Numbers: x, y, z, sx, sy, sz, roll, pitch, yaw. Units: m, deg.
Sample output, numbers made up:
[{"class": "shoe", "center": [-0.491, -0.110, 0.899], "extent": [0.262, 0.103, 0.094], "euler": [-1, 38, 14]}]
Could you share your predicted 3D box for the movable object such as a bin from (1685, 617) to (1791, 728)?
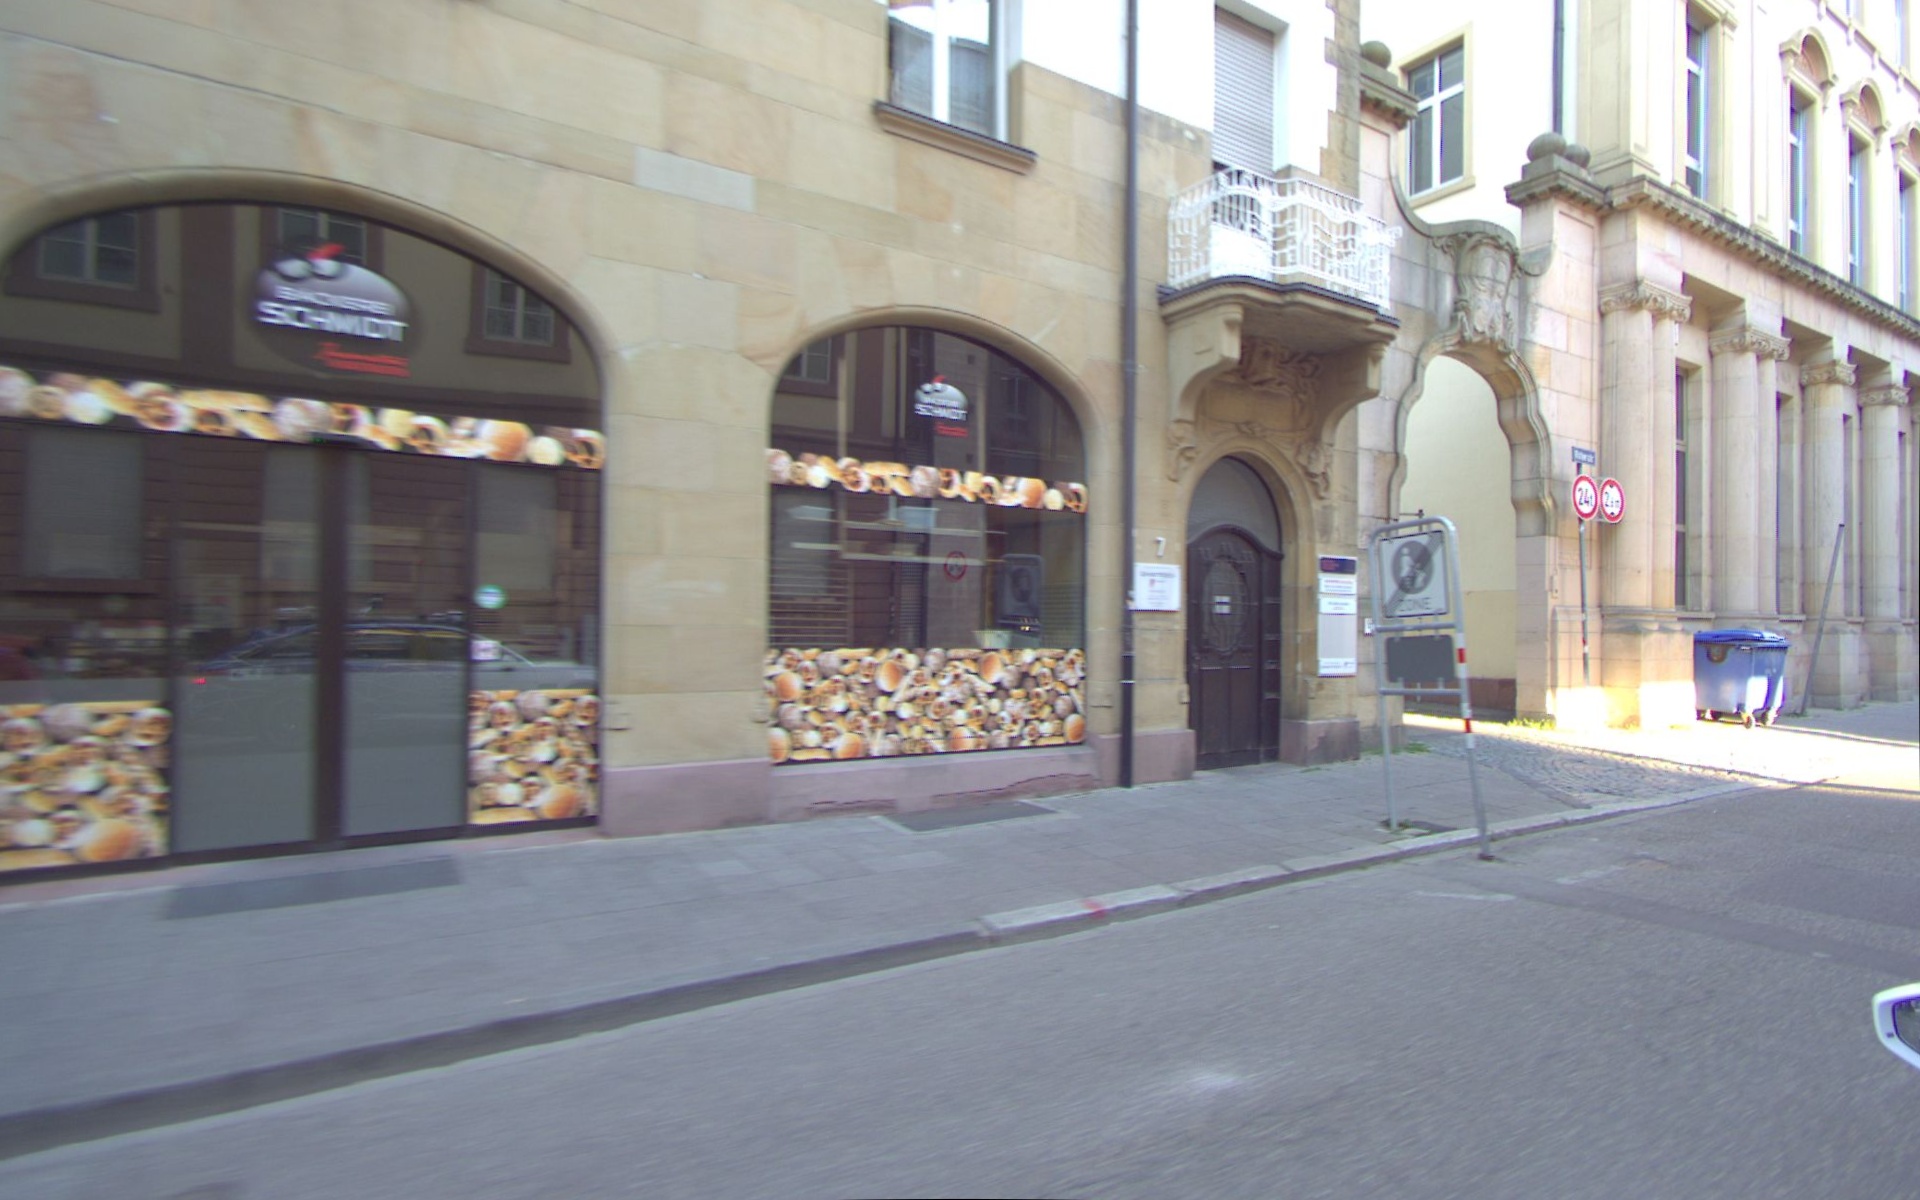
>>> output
[{"class": "movable object such as a bin", "center": [11.265, 1.006, 14.541], "extent": [1.277, 1.523, 0.824], "euler": [1, 0, -32]}]
